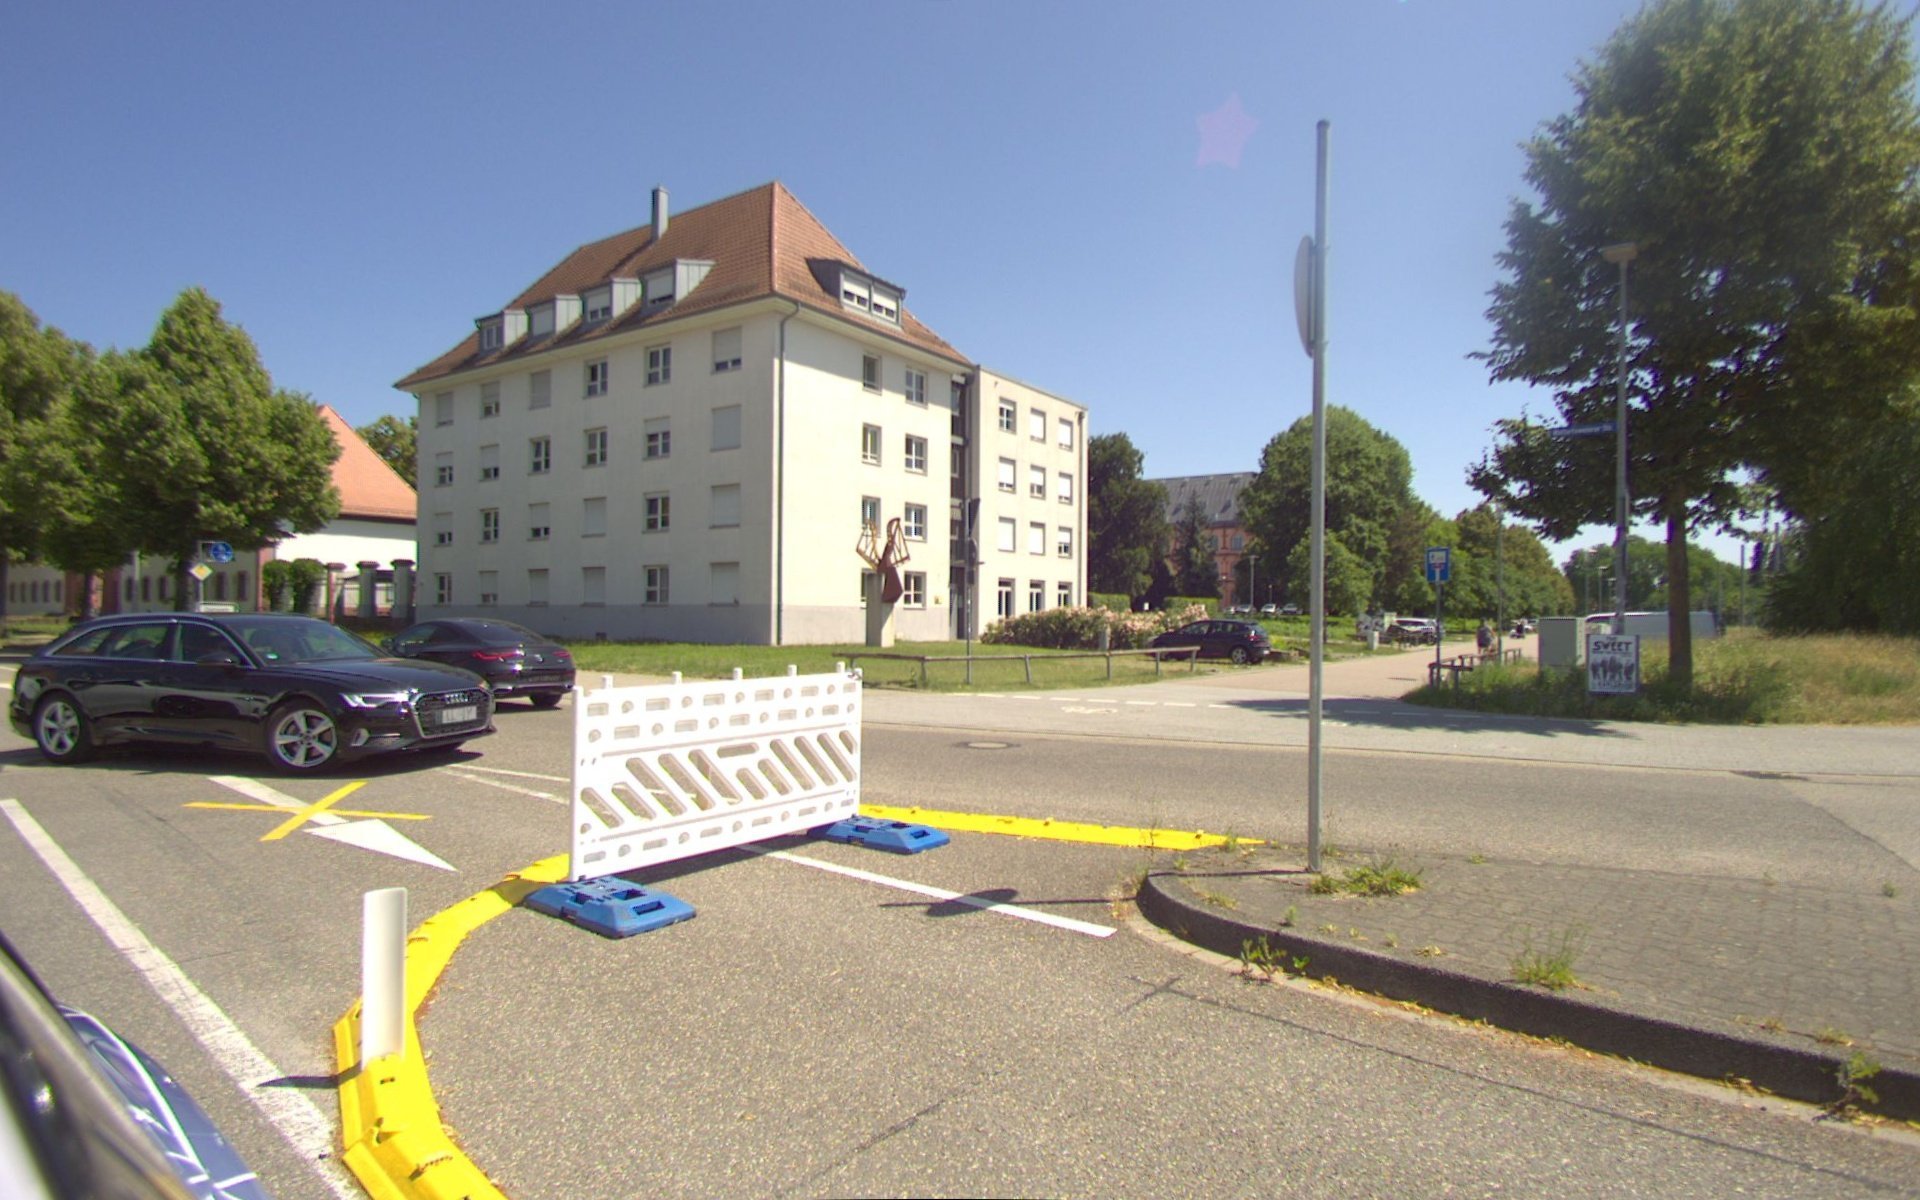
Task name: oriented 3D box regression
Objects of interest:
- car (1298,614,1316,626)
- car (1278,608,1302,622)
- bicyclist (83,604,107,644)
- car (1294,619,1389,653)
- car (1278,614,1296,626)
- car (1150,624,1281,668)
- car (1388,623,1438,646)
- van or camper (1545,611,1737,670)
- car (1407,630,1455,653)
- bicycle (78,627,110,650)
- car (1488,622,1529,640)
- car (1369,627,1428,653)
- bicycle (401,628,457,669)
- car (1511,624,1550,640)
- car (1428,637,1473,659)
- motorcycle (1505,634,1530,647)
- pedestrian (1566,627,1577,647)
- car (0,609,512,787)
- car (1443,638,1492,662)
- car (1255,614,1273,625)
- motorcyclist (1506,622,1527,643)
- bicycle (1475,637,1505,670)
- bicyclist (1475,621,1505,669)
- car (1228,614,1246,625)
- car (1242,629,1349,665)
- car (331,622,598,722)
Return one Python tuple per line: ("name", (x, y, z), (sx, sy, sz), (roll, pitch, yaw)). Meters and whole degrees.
("car", (42.082, 2.404, 122.731), (1.473, 1.427, 2.997), (-1, -1, 30))
("car", (40.566, 1.827, 124.367), (1.994, 1.608, 3.956), (0, 0, 33))
("bicyclist", (-35.560, 0.974, 41.590), (0.738, 1.623, 0.562), (-1, -2, 35))
("car", (17.492, 1.635, 46.500), (3.800, 1.336, 1.640), (2, 1, 35))
("car", (40.103, 2.426, 124.072), (1.473, 1.427, 2.997), (-1, -1, 30))
("car", (8.229, 1.443, 32.732), (3.799, 1.337, 1.640), (-1, -2, 35))
("car", (27.130, 2.041, 60.637), (2.528, 1.368, 1.069), (-1, -2, 42))
("van or camper", (22.969, 1.323, 34.349), (5.259, 1.871, 1.977), (-1, -2, 34))
("car", (29.932, 2.629, 64.314), (2.528, 1.368, 1.069), (-1, -2, 42))
("bicycle", (-35.614, 1.573, 41.612), (1.904, 0.922, 0.556), (-1, -2, 35))
("car", (65.437, 3.672, 120.755), (3.999, 2.029, 1.972), (-1, -2, 42))
("car", (24.282, 2.205, 56.073), (2.747, 1.367, 1.156), (-1, -2, 42))
("bicycle", (-14.864, 1.338, 28.313), (1.984, 1.032, 0.700), (0, 2, 41))
("car", (73.336, 4.104, 130.129), (3.999, 2.029, 1.972), (-1, -2, 42))
("car", (32.535, 3.178, 67.122), (2.528, 1.368, 1.069), (-1, -2, 42))
("motorcycle", (43.752, 3.188, 79.385), (1.368, 0.929, 3.187), (-1, -2, 35))
("pedestrian", (50.732, 3.047, 83.938), (0.671, 1.677, 1.325), (-1, -1, 34))
("car", (-6.900, 0.854, 9.884), (4.578, 1.462, 1.792), (-1, -2, 17))
("car", (38.400, 3.769, 76.605), (3.221, 1.718, 1.493), (-1, -1, 32))
("car", (37.840, 2.443, 125.969), (1.473, 1.427, 2.997), (-1, -1, 30))
("motorcyclist", (43.466, 2.495, 79.018), (1.252, 1.621, 1.423), (-1, -2, 36))
("bicycle", (18.853, 1.886, 35.975), (0.550, 1.121, 1.654), (2, 0, 41))
("bicyclist", (18.866, 1.577, 35.994), (0.715, 1.650, 0.961), (2, 0, 41))
("car", (34.681, 2.467, 126.864), (1.473, 1.427, 2.997), (-1, -1, 30))
("car", (12.315, 1.709, 37.247), (3.506, 1.227, 1.340), (-1, -2, 35))
("car", (-8.078, 1.086, 16.369), (4.621, 1.414, 1.800), (-1, -3, 34))
